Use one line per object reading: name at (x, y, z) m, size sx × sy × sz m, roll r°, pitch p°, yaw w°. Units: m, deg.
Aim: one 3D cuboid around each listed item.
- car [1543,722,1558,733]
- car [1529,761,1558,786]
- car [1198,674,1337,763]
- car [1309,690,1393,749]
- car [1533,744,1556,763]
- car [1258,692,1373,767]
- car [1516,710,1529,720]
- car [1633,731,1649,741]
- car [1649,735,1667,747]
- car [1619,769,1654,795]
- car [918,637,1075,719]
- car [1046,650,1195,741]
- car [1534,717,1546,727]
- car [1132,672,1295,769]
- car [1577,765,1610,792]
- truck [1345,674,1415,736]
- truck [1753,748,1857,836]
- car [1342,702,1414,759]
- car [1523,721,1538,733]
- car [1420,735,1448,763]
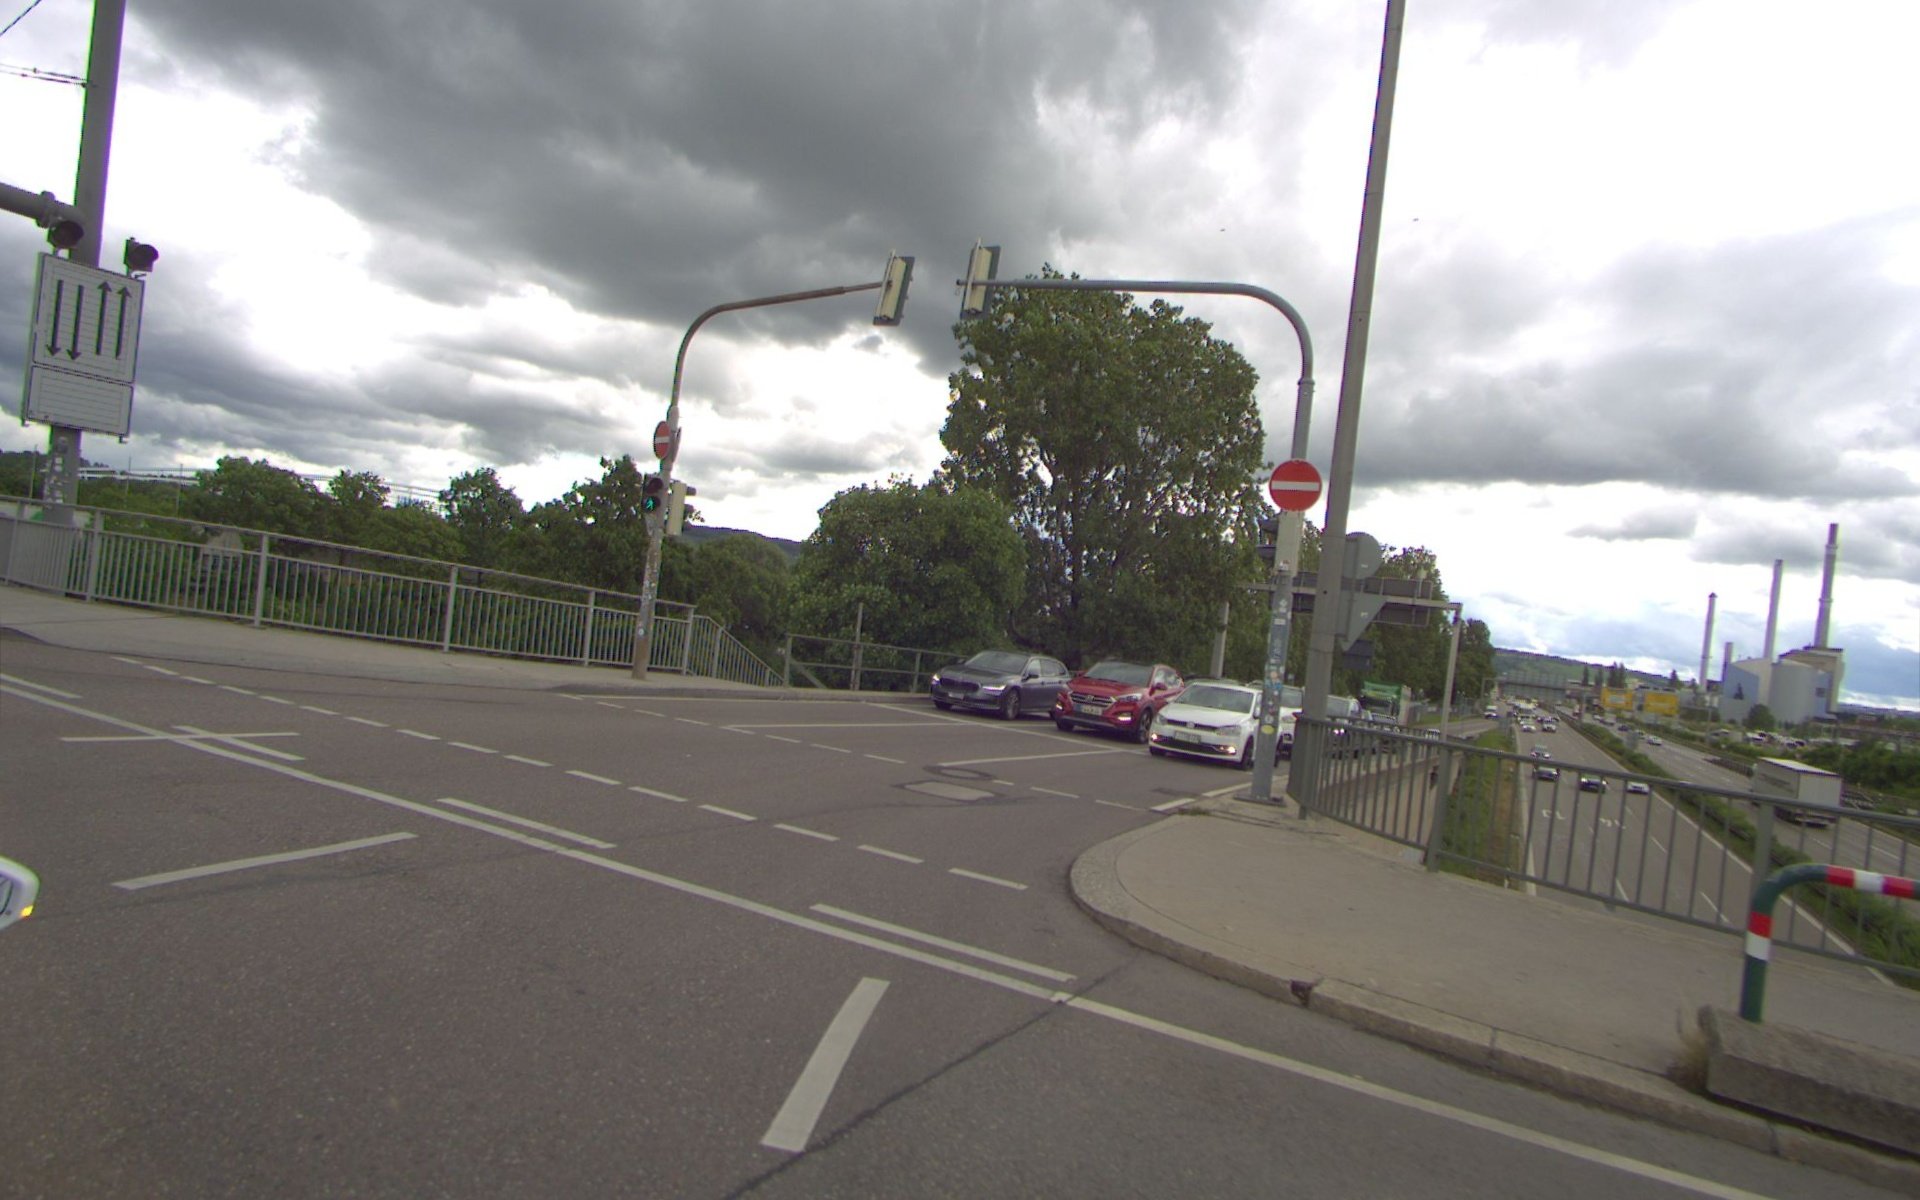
car at (104.223, 22.546, 177.645) m, size 1.966 × 1.725 × 4.077 m, roll 5°, pitch -3°, yaw 30°
car at (51.725, 15.376, 89.263) m, size 1.966 × 1.725 × 4.077 m, roll 5°, pitch -3°, yaw 30°
car at (7.224, 2.745, 23.315) m, size 1.967 × 1.637 × 4.339 m, roll 5°, pitch -4°, yaw 31°
car at (13.511, 4.123, 34.635) m, size 1.967 × 1.635 × 3.998 m, roll 5°, pitch -4°, yaw 31°
car at (64.870, 16.994, 111.669) m, size 1.966 × 1.725 × 4.077 m, roll 5°, pitch -3°, yaw 30°
car at (9.882, 3.551, 27.691) m, size 1.967 × 1.637 × 4.959 m, roll 5°, pitch -4°, yaw 31°
car at (112.383, 22.941, 201.026) m, size 1.966 × 1.725 × 4.077 m, roll 5°, pitch -3°, yaw 30°
car at (136.154, 27.239, 201.265) m, size 1.965 × 1.755 × 3.997 m, roll 6°, pitch -3°, yaw 27°
car at (124.072, 25.085, 178.954) m, size 1.965 × 1.755 × 3.997 m, roll 5°, pitch -3°, yaw 27°
car at (57.533, 15.441, 85.591) m, size 1.966 × 1.725 × 4.077 m, roll 5°, pitch -3°, yaw 30°
car at (0.916, 1.792, 22.342) m, size 1.667 × 1.436 × 4.152 m, roll 5°, pitch -4°, yaw 29°
car at (3.458, 2.046, 21.071) m, size 1.667 × 1.556 × 4.006 m, roll 5°, pitch -4°, yaw 30°
car at (125.228, 26.330, 217.205) m, size 1.966 × 1.725 × 4.077 m, roll 5°, pitch -3°, yaw 30°
car at (4.587, 2.124, 17.786) m, size 1.761 × 1.327 × 3.763 m, roll 5°, pitch -4°, yaw 30°
car at (52.525, 14.803, 83.502) m, size 1.966 × 1.725 × 4.077 m, roll 5°, pitch -3°, yaw 30°
truck at (28.758, 7.099, 68.635) m, size 2.736 × 3.551 × 9.243 m, roll 7°, pitch -1°, yaw 31°
truck at (65.503, 14.678, 78.388) m, size 3.528 × 4.545 × 13.146 m, roll 7°, pitch 2°, yaw 30°
car at (17.037, 5.249, 40.936) m, size 1.967 × 1.639 × 3.988 m, roll 7°, pitch 2°, yaw 31°
car at (96.945, 21.584, 171.022) m, size 1.966 × 1.725 × 4.077 m, roll 5°, pitch -3°, yaw 30°
car at (41.517, 13.040, 88.131) m, size 1.965 × 1.691 × 3.764 m, roll 7°, pitch 2°, yaw 27°
